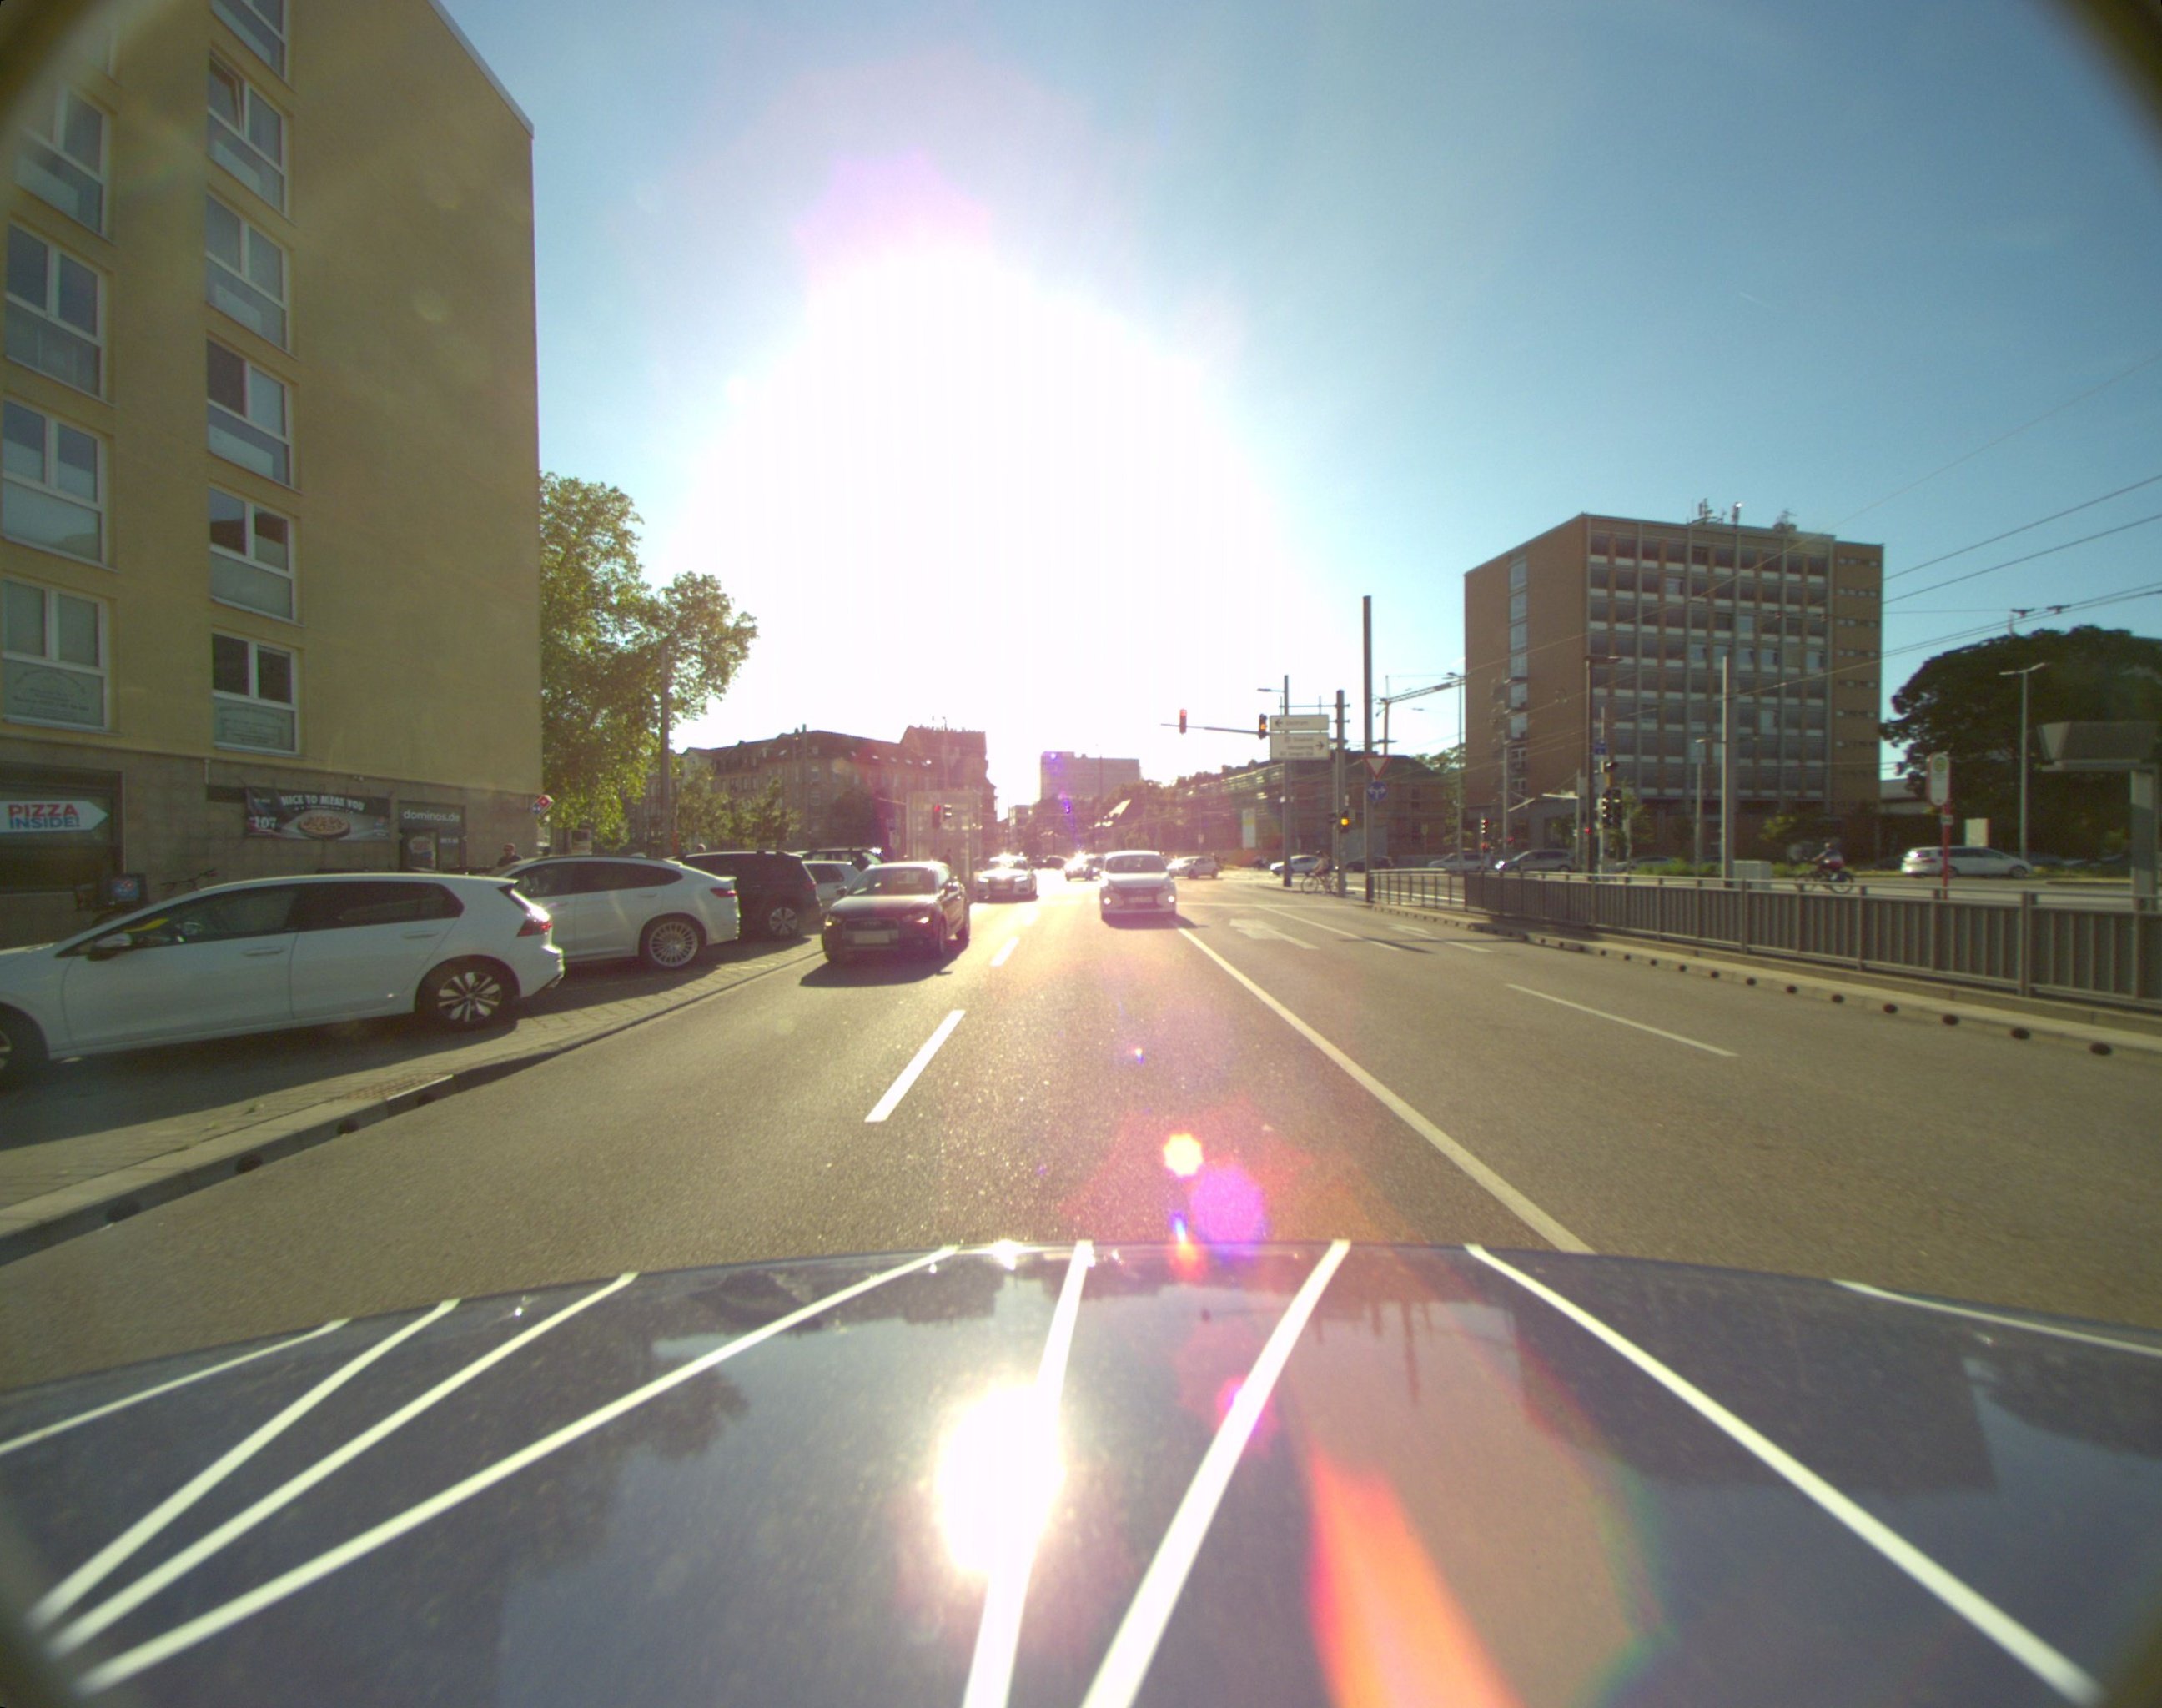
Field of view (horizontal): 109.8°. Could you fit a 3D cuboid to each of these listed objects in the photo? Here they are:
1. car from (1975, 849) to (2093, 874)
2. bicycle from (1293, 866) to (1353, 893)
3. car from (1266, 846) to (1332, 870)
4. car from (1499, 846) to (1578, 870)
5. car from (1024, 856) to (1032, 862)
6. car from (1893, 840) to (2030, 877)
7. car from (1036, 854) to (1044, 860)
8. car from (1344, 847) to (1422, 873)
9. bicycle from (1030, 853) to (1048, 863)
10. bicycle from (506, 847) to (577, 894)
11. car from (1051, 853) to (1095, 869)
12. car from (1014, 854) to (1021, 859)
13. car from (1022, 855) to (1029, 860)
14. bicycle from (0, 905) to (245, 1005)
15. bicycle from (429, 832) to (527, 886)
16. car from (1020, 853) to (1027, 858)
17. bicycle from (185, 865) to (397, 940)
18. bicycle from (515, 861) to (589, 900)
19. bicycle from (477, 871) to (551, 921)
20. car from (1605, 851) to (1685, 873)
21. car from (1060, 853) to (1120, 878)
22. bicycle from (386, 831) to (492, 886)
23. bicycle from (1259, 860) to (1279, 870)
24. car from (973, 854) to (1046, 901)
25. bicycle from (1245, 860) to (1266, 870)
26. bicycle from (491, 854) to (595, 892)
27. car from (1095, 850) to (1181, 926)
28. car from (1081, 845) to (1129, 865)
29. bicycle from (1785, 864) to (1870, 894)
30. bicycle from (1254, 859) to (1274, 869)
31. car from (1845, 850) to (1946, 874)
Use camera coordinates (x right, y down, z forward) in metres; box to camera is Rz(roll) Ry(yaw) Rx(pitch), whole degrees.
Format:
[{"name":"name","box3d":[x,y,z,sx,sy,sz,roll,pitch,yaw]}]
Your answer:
[{"name":"car","box3d":[64.879,0.522,51.828,4.698,1.673,2.003,0,-2,15]},{"name":"bicycle","box3d":[8.815,0.927,27.721,1.894,0.936,0.815,1,1,-5]},{"name":"car","box3d":[15.894,0.252,55.484,4.287,1.666,1.996,-1,1,-20]},{"name":"car","box3d":[33.085,0.280,55.119,4.607,1.679,2.003,0,1,20]},{"name":"car","box3d":[-15.941,1.516,228.973,1.757,1.596,4.016,-1,-1,-12]},{"name":"car","box3d":[46.738,0.260,40.457,4.456,1.723,1.944,3,0,12]},{"name":"car","box3d":[-11.278,0.821,208.798,1.757,1.455,4.016,-1,-1,-12]},{"name":"car","box3d":[24.282,0.517,61.247,5.753,2.001,2.004,0,-2,18]},{"name":"bicycle","box3d":[-4.674,0.408,84.520,1.899,1.116,0.649,0,-2,17]},{"name":"bicycle","box3d":[-14.762,0.424,20.853,0.659,1.241,1.900,1,1,-3]},{"name":"car","box3d":[-0.799,0.704,76.923,4.011,1.455,1.759,-1,0,18]},{"name":"car","box3d":[-21.541,0.861,256.663,1.757,1.455,4.016,-1,-1,-12]},{"name":"car","box3d":[-17.335,1.200,236.554,1.757,1.455,4.016,-1,-1,-12]},{"name":"bicycle","box3d":[-14.848,1.508,11.895,0.932,1.348,2.230,1,-2,4]},{"name":"bicycle","box3d":[-14.670,0.104,18.582,0.659,1.241,2.298,1,1,-3]},{"name":"car","box3d":[-18.281,0.610,240.824,1.757,1.455,4.016,-1,-1,-12]},{"name":"bicycle","box3d":[-15.344,0.880,14.973,0.987,1.256,3.061,0,0,-1]},{"name":"bicycle","box3d":[-18.796,0.925,27.018,1.998,1.338,0.815,1,1,-5]},{"name":"bicycle","box3d":[-15.495,1.129,20.816,0.659,1.241,1.900,1,1,-3]},{"name":"car","box3d":[44.846,0.622,60.498,4.698,1.673,2.003,0,-2,15]},{"name":"car","box3d":[0.616,0.679,46.866,1.779,1.455,3.923,1,1,36]},{"name":"bicycle","box3d":[-15.463,0.099,18.392,0.659,1.241,2.298,1,1,-2]},{"name":"bicycle","box3d":[19.149,1.105,77.429,1.875,0.965,0.713,1,4,28]},{"name":"car","box3d":[-2.397,0.770,26.522,1.825,1.380,4.458,-2,1,3]},{"name":"bicycle","box3d":[17.551,1.095,76.327,1.875,0.965,0.713,1,4,29]},{"name":"bicycle","box3d":[-16.998,0.621,24.104,1.032,1.116,2.535,0,-2,18]},{"name":"car","box3d":[1.254,0.697,17.568,1.720,1.484,3.870,-2,1,2]},{"name":"car","box3d":[2.269,0.121,72.041,3.991,1.598,2.001,-2,4,20]},{"name":"bicycle","box3d":[26.282,0.867,26.811,0.816,0.936,1.999,-4,1,-13]},{"name":"bicycle","box3d":[18.909,0.994,78.556,1.875,0.965,0.713,1,4,29]},{"name":"car","box3d":[59.730,0.619,55.850,4.698,1.673,2.003,0,-2,15]}]
